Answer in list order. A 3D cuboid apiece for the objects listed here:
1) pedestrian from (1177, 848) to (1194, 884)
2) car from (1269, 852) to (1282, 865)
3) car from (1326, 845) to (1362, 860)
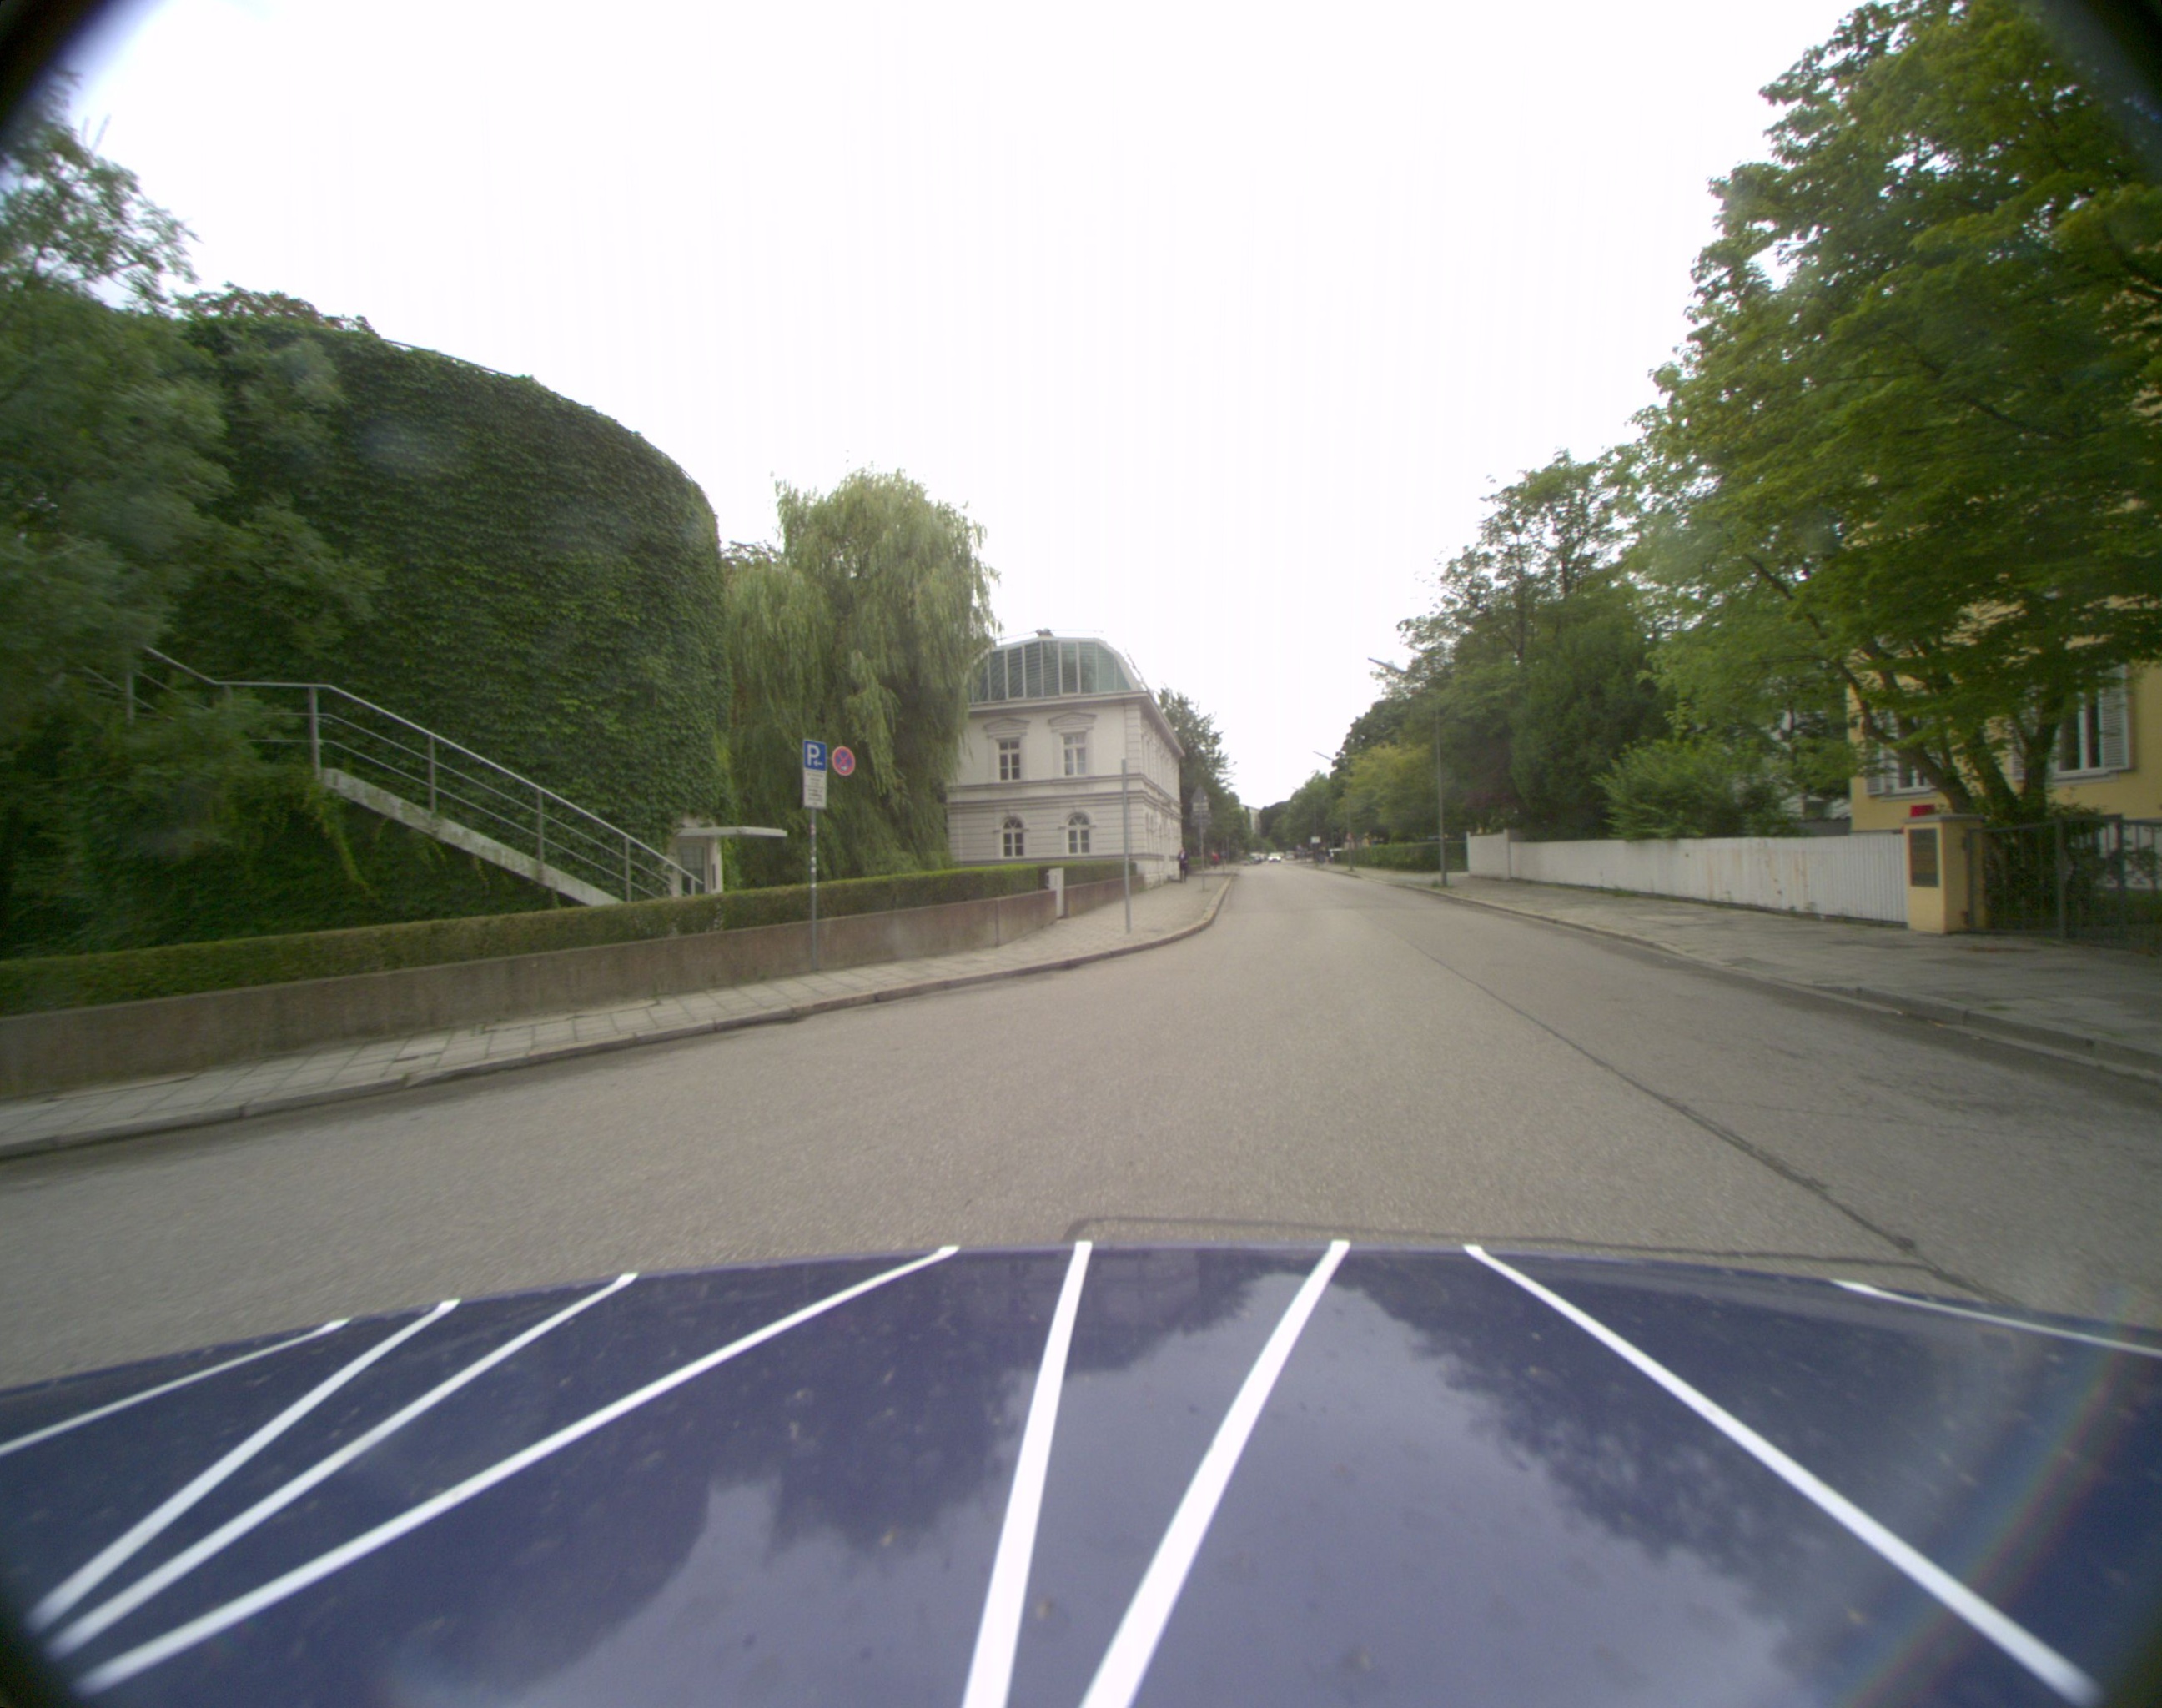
[{"bbox_3d":[5.123,0.574,37.172,0.679,1.696,0.769,-1,1,16],"label":"pedestrian"},{"bbox_3d":[31.766,0.676,124.172,1.997,2.002,4.003,-2,0,12],"label":"car"},{"bbox_3d":[33.289,-0.193,96.133,4.127,1.604,1.863,-3,0,15],"label":"car"}]
